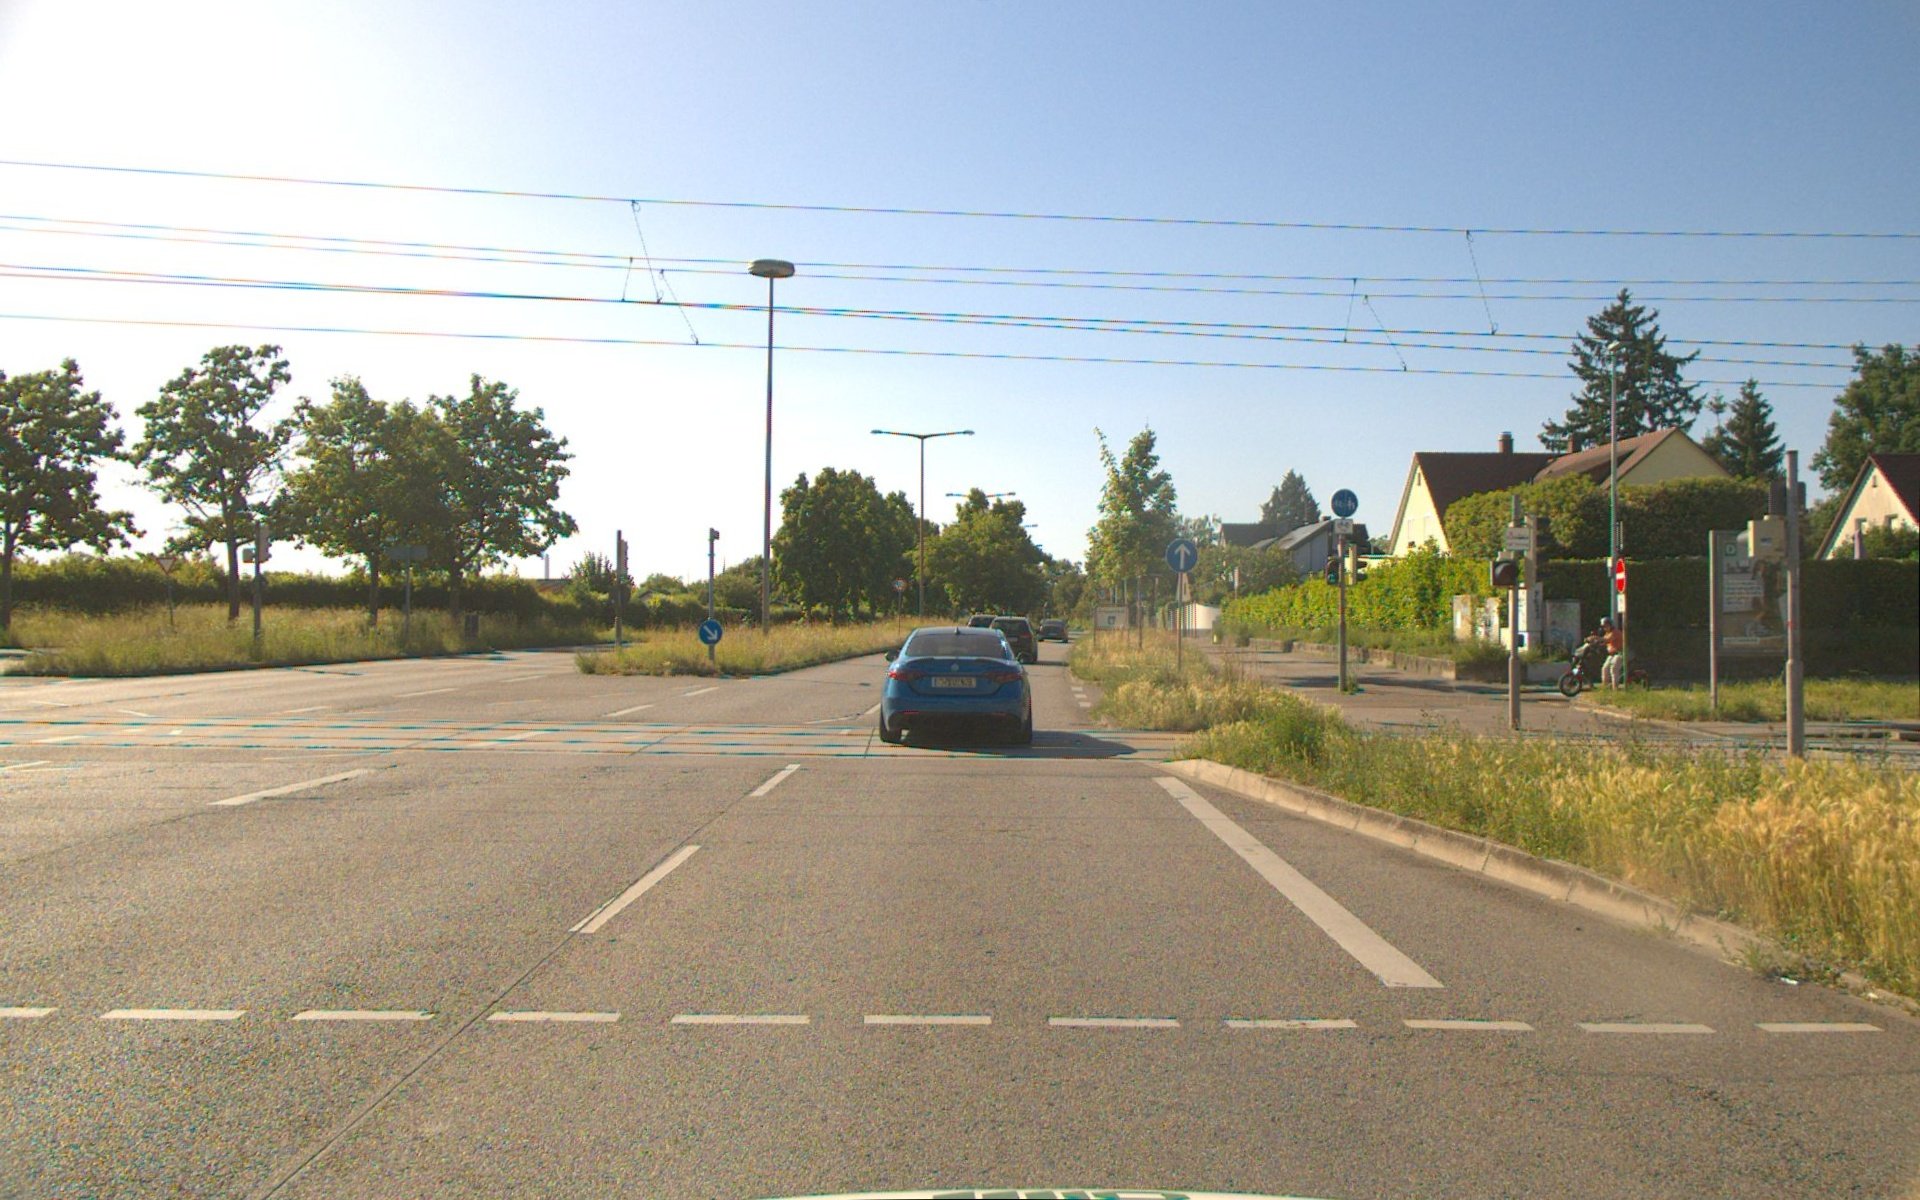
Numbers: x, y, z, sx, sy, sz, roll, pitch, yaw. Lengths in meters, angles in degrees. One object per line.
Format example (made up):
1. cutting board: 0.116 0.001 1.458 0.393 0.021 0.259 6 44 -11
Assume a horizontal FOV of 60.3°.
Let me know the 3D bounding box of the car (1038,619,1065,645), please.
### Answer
1. car: 5.857 2.015 105.898 1.626 1.607 3.810 1 0 4

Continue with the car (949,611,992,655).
1. car: 0.534 1.563 79.424 1.755 2.049 4.002 1 0 4

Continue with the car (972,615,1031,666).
1. car: 1.384 1.324 55.271 1.876 1.607 4.182 1 -1 1

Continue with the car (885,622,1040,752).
1. car: -0.058 1.056 21.382 1.801 1.500 4.182 1 -1 -2

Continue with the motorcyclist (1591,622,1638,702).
1. motorcyclist: 13.171 1.242 33.296 0.678 1.585 0.700 -1 0 4

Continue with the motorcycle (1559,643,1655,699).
1. motorcycle: 12.989 1.414 33.224 1.719 1.090 0.452 -1 0 4
